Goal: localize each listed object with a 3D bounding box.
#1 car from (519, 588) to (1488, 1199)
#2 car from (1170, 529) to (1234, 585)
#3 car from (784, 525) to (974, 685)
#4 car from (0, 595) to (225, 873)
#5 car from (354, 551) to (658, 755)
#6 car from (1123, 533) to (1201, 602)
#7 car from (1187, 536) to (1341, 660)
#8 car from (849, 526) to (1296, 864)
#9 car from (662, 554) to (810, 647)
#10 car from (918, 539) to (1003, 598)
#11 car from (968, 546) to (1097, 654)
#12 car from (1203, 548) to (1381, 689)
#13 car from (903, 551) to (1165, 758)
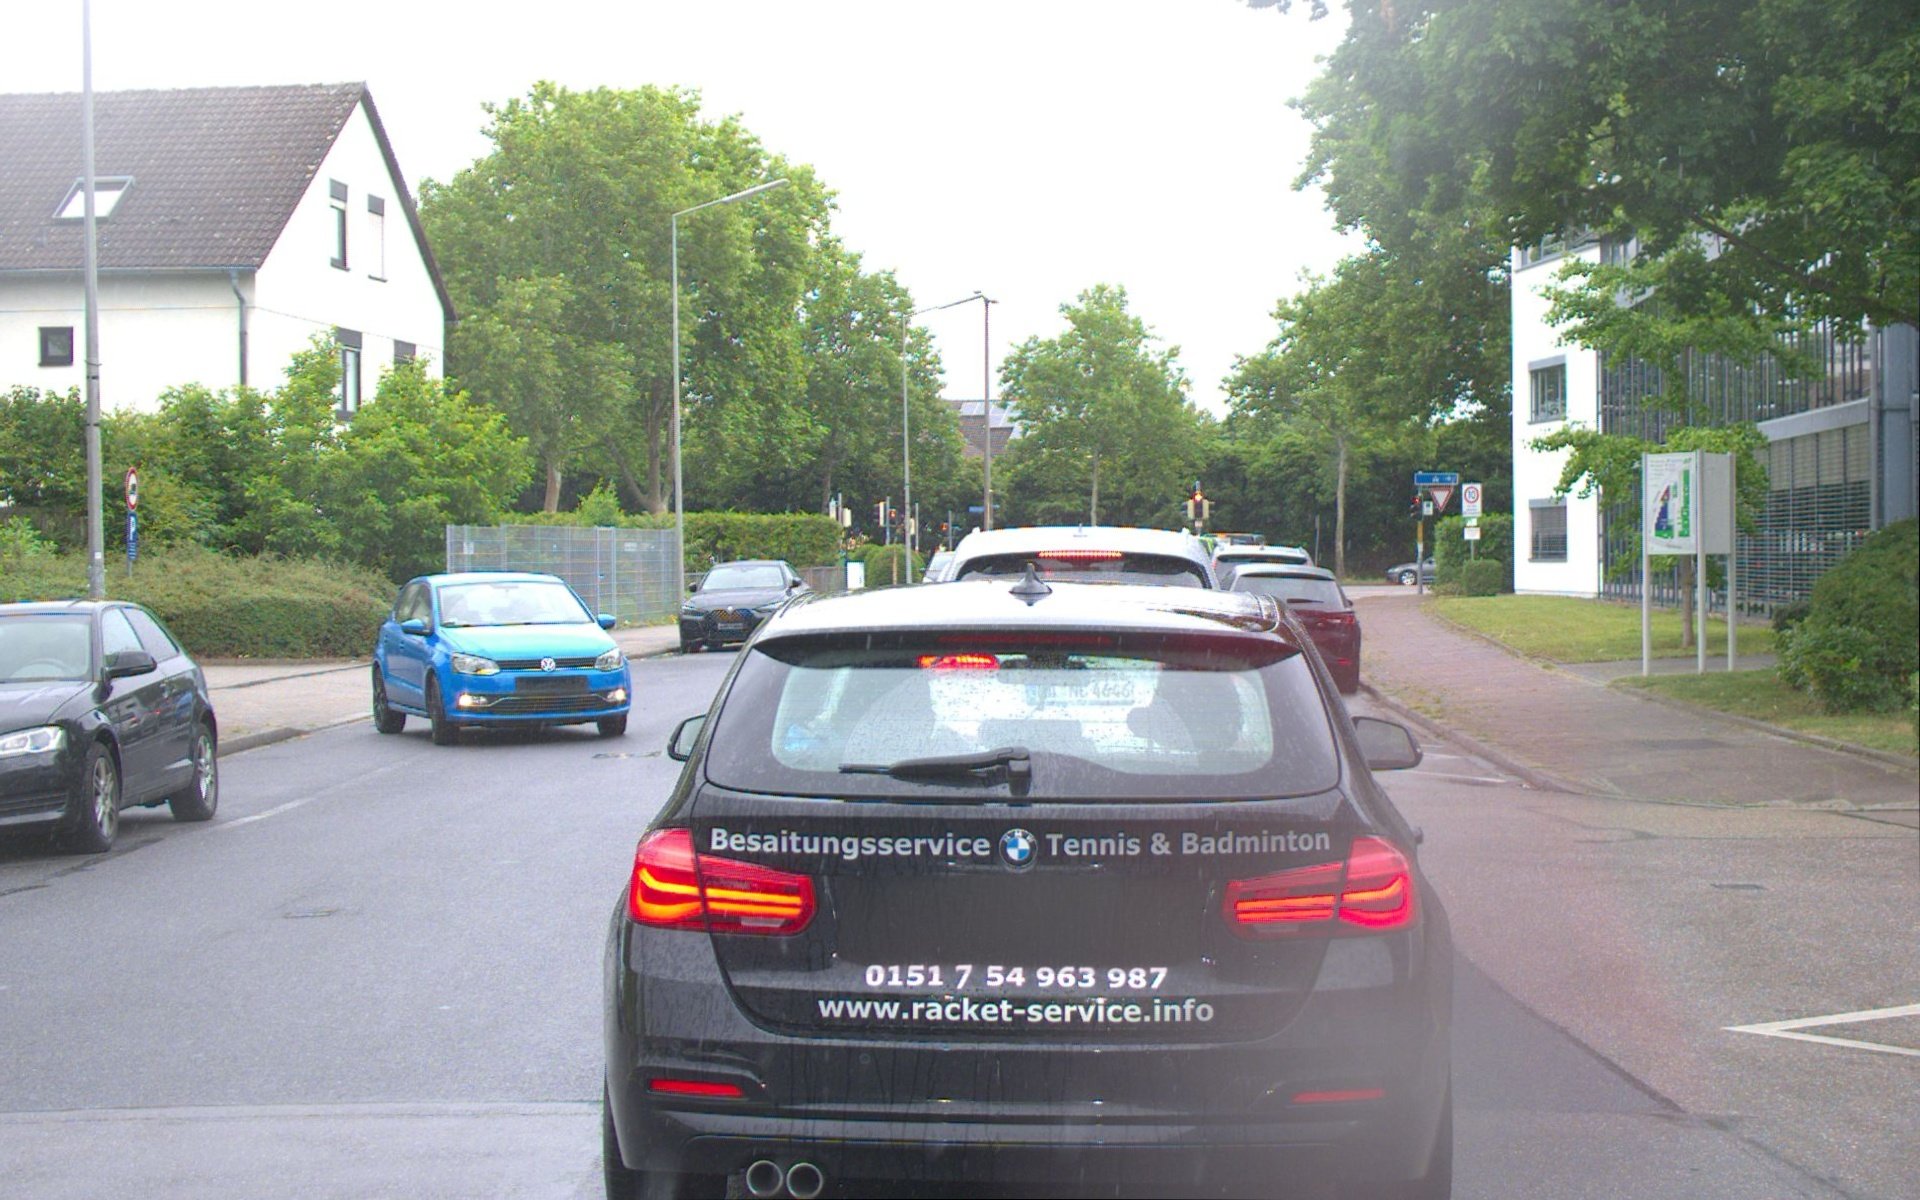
[{"bbox_3d":[0.012,0.677,8.417,1.804,1.390,4.000,0,0,-2],"label":"car"},{"bbox_3d":[7.005,-1.262,99.710,1.804,1.581,4.000,0,1,3],"label":"car"},{"bbox_3d":[-0.796,0.033,36.231,1.804,1.581,4.000,0,0,1],"label":"car"},{"bbox_3d":[-5.493,0.723,19.751,1.705,1.362,3.838,-3,1,-1],"label":"car"},{"bbox_3d":[-4.042,0.426,30.096,1.705,1.589,3.839,-3,1,-21],"label":"car"},{"bbox_3d":[4.790,-0.793,81.555,1.804,1.581,4.000,0,1,3],"label":"car"},{"bbox_3d":[4.032,-0.040,46.137,1.804,1.581,4.000,0,0,1],"label":"car"},{"bbox_3d":[0.472,0.433,18.166,1.804,1.581,4.001,0,0,-6],"label":"car"},{"bbox_3d":[-3.633,-0.013,56.407,1.706,1.362,3.837,-3,1,6],"label":"car"},{"bbox_3d":[0.038,-0.826,88.410,1.706,1.362,3.837,-3,1,6],"label":"car"},{"bbox_3d":[1.153,-0.012,52.668,1.804,1.581,4.000,0,0,4],"label":"car"},{"bbox_3d":[3.876,0.197,40.666,1.804,1.581,4.000,0,0,1],"label":"car"},{"bbox_3d":[0.537,0.406,28.406,1.804,1.581,4.001,0,0,-4],"label":"car"}]
